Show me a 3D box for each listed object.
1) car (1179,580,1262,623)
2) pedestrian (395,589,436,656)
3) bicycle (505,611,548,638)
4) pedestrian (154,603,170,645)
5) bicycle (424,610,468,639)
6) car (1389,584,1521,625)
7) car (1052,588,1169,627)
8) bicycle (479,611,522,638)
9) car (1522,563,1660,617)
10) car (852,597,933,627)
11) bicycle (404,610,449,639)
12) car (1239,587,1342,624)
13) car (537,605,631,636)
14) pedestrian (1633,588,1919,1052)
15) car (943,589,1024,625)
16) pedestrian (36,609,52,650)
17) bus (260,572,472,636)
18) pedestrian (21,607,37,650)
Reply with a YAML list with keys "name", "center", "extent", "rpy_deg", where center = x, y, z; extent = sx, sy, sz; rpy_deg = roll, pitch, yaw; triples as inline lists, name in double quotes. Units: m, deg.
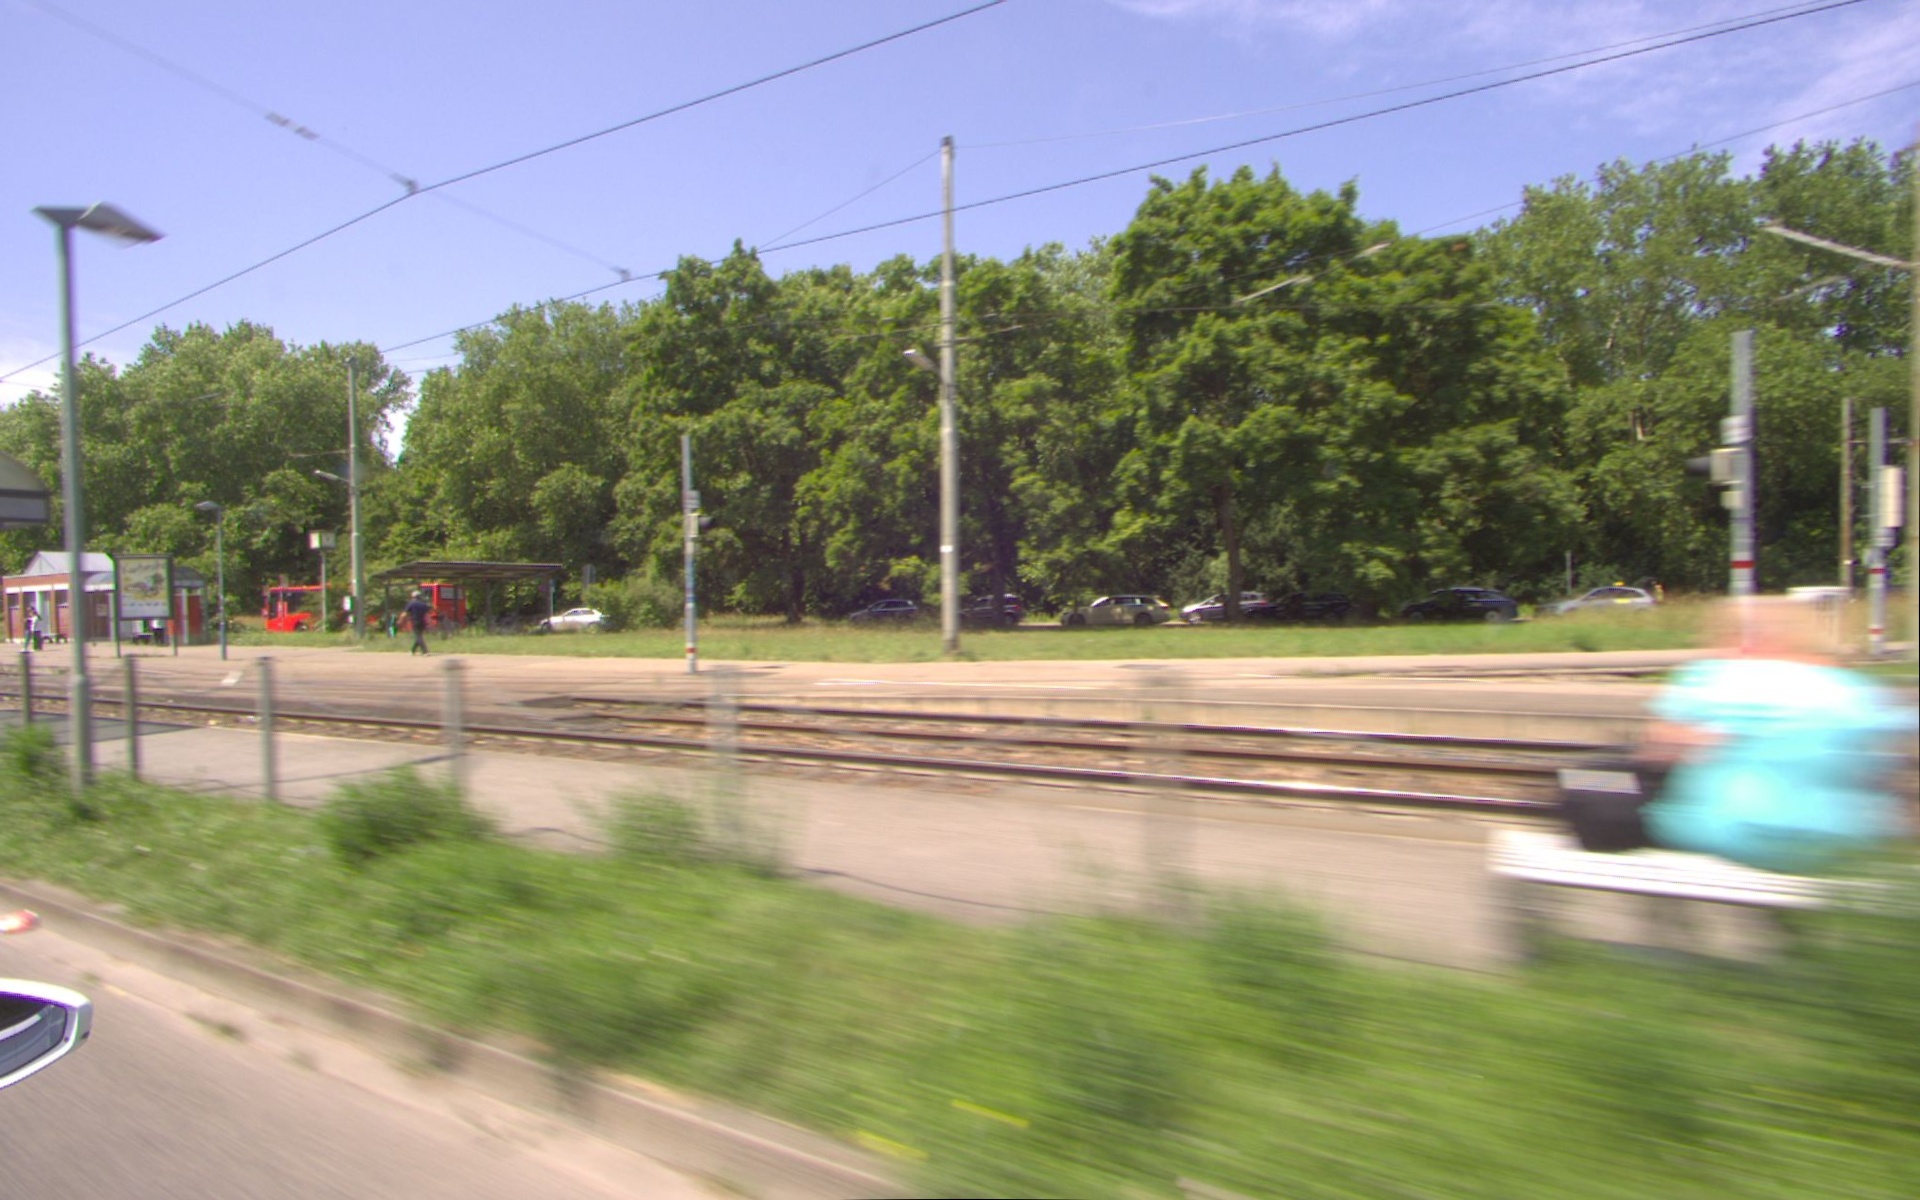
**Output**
- name: "car"
  center: [12.930, 0.099, 49.929]
  extent: [3.925, 2.041, 1.998]
  rpy_deg: [-1, 1, 13]
- name: "pedestrian"
  center: [-14.733, 0.595, 27.088]
  extent: [0.648, 1.788, 0.704]
  rpy_deg: [0, 1, 33]
- name: "bicycle"
  center: [-19.083, 1.062, 44.059]
  extent: [2.158, 1.102, 0.596]
  rpy_deg: [2, 2, 32]
- name: "pedestrian"
  center: [-31.405, 0.954, 39.411]
  extent: [0.604, 1.617, 0.359]
  rpy_deg: [-2, -1, 36]
- name: "bicycle"
  center: [-21.070, 0.994, 41.041]
  extent: [2.158, 1.102, 0.596]
  rpy_deg: [2, 2, 32]
- name: "car"
  center: [20.243, 0.169, 41.110]
  extent: [4.526, 1.560, 1.704]
  rpy_deg: [-1, 1, 9]
- name: "car"
  center: [6.709, 0.331, 44.369]
  extent: [4.962, 1.633, 2.122]
  rpy_deg: [-1, 1, 13]
- name: "bicycle"
  center: [-19.800, 1.044, 43.132]
  extent: [2.158, 1.102, 0.596]
  rpy_deg: [2, 2, 32]
- name: "car"
  center: [25.224, -0.384, 40.144]
  extent: [4.232, 2.041, 1.957]
  rpy_deg: [-1, 1, 9]
- name: "car"
  center: [-3.551, 0.636, 53.208]
  extent: [3.925, 1.531, 1.886]
  rpy_deg: [-1, 1, 12]
- name: "bicycle"
  center: [-21.488, 0.971, 40.345]
  extent: [2.158, 1.102, 0.596]
  rpy_deg: [2, 2, 32]
- name: "car"
  center: [13.929, 0.214, 42.396]
  extent: [3.870, 1.442, 1.957]
  rpy_deg: [-1, 1, 9]
- name: "car"
  center: [-21.363, 1.141, 57.006]
  extent: [4.636, 1.651, 1.998]
  rpy_deg: [-1, 1, 10]
- name: "pedestrian"
  center: [2.323, 0.555, 2.845]
  extent: [0.612, 1.143, 0.609]
  rpy_deg: [-1, -1, 30]
- name: "car"
  center: [1.260, 0.373, 52.186]
  extent: [3.924, 1.795, 1.998]
  rpy_deg: [-1, 1, 11]
- name: "pedestrian"
  center: [-36.150, 1.168, 39.523]
  extent: [0.476, 1.617, 0.359]
  rpy_deg: [-1, -1, 34]
- name: "bus"
  center: [-35.551, 0.291, 59.919]
  extent: [12.211, 3.483, 2.767]
  rpy_deg: [-1, -1, 12]
- name: "pedestrian"
  center: [-36.747, 1.129, 39.515]
  extent: [0.439, 1.667, 0.359]
  rpy_deg: [-1, -1, 34]
